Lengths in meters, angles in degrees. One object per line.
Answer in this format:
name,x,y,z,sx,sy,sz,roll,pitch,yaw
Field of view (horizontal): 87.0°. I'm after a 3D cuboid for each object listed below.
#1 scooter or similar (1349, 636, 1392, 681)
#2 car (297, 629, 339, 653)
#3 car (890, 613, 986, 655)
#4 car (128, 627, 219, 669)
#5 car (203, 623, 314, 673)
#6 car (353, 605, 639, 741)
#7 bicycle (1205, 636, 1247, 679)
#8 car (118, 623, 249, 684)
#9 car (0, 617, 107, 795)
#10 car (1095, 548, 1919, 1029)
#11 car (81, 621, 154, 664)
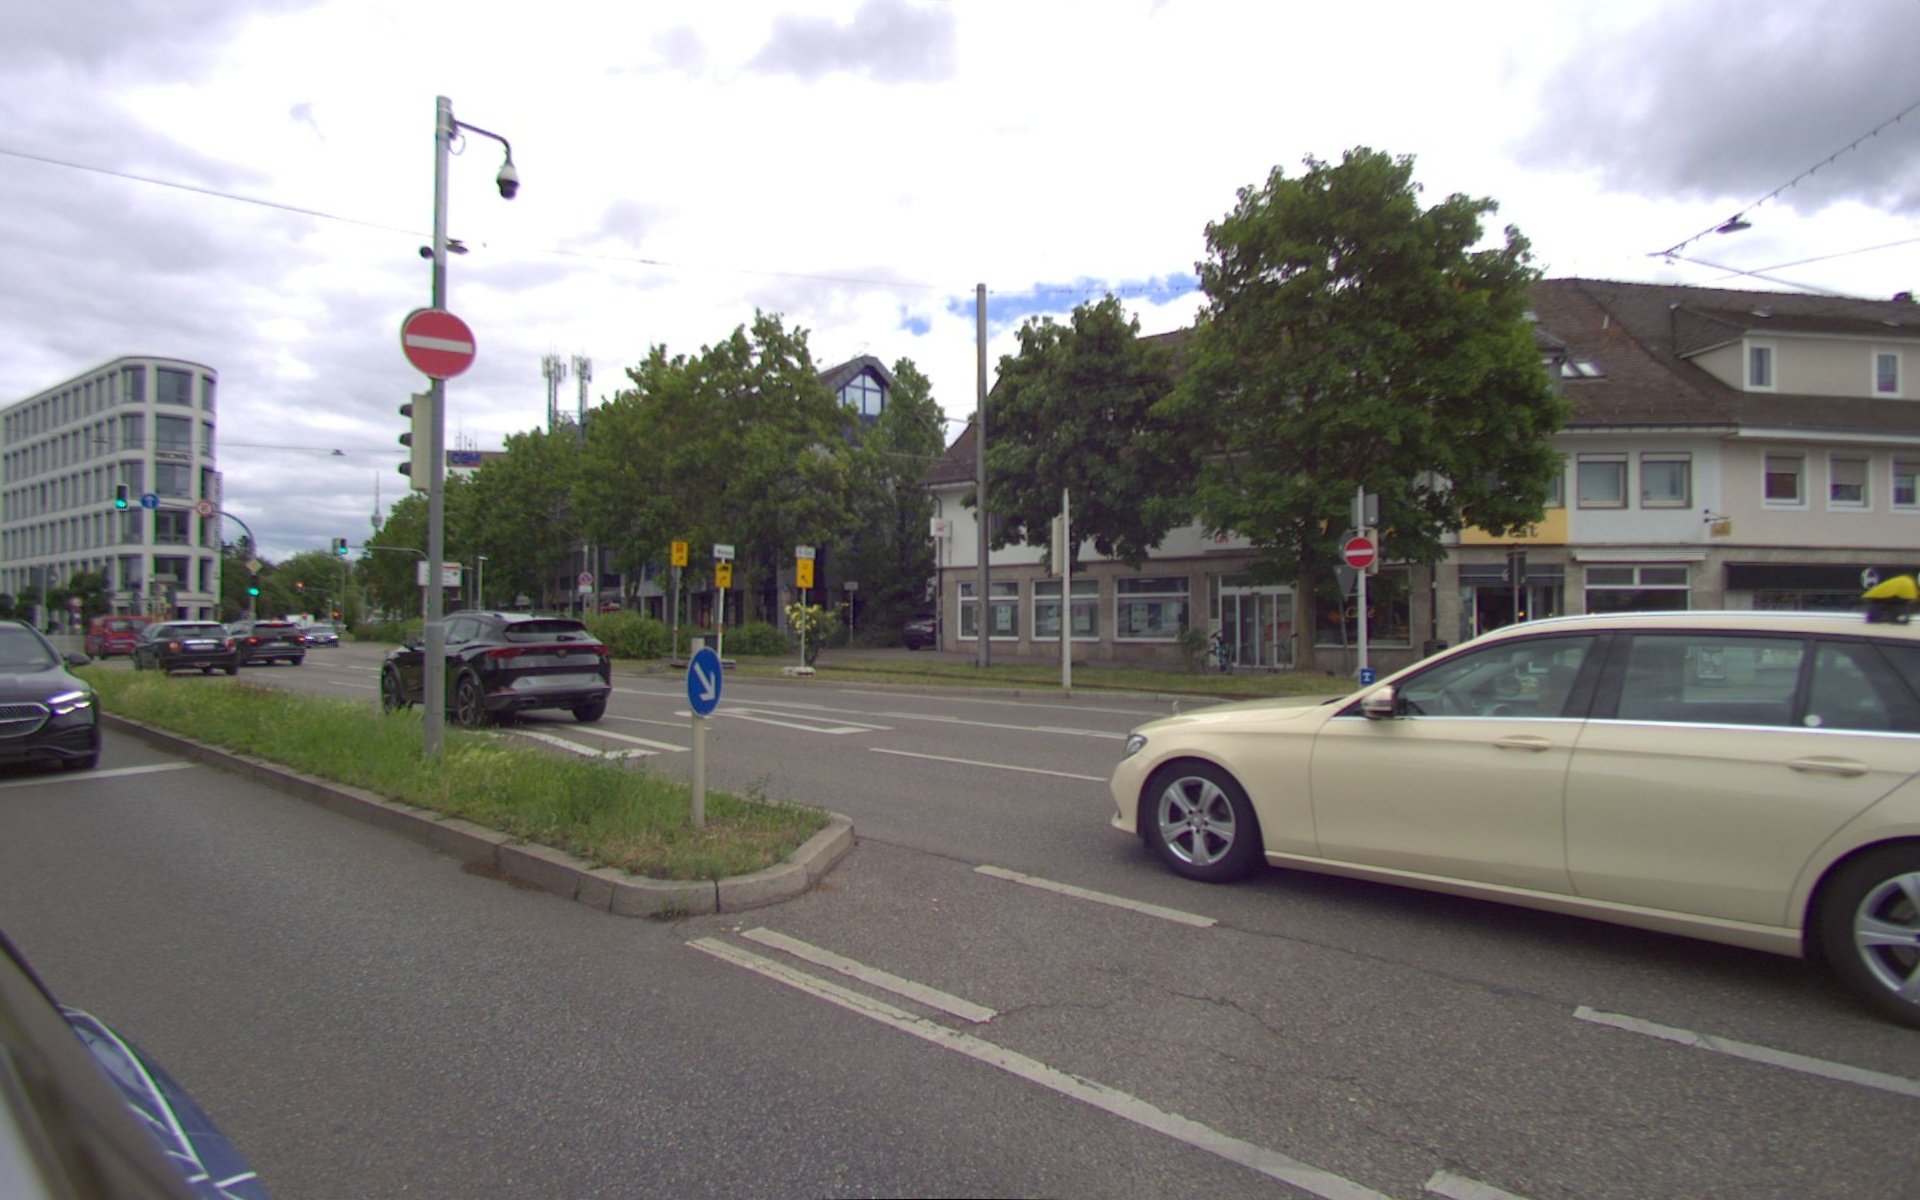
scooter or similar,9.429,1.322,23.290,0.620,0.988,1.444,0,-1,11
car,-41.442,2.622,65.280,1.924,1.483,4.552,1,-2,-37
car,-0.844,1.351,40.861,1.995,1.608,3.954,-1,-1,34
car,-29.861,1.784,38.388,4.541,1.483,1.929,-1,-2,41
car,-22.586,1.494,32.523,4.541,1.483,1.929,-1,-2,41
car,-6.695,0.918,14.345,4.771,1.606,1.929,-1,-2,41
bicycle,6.497,1.374,24.676,0.623,0.995,2.038,-1,-2,25
car,-20.786,1.364,27.025,4.541,1.483,1.929,-1,-2,41
car,-10.392,0.974,10.362,4.771,1.563,1.848,-1,-2,41
car,3.145,0.660,4.800,4.818,1.606,1.890,-1,-2,45
car,-39.027,1.924,46.846,4.541,1.922,1.929,-1,-2,41
